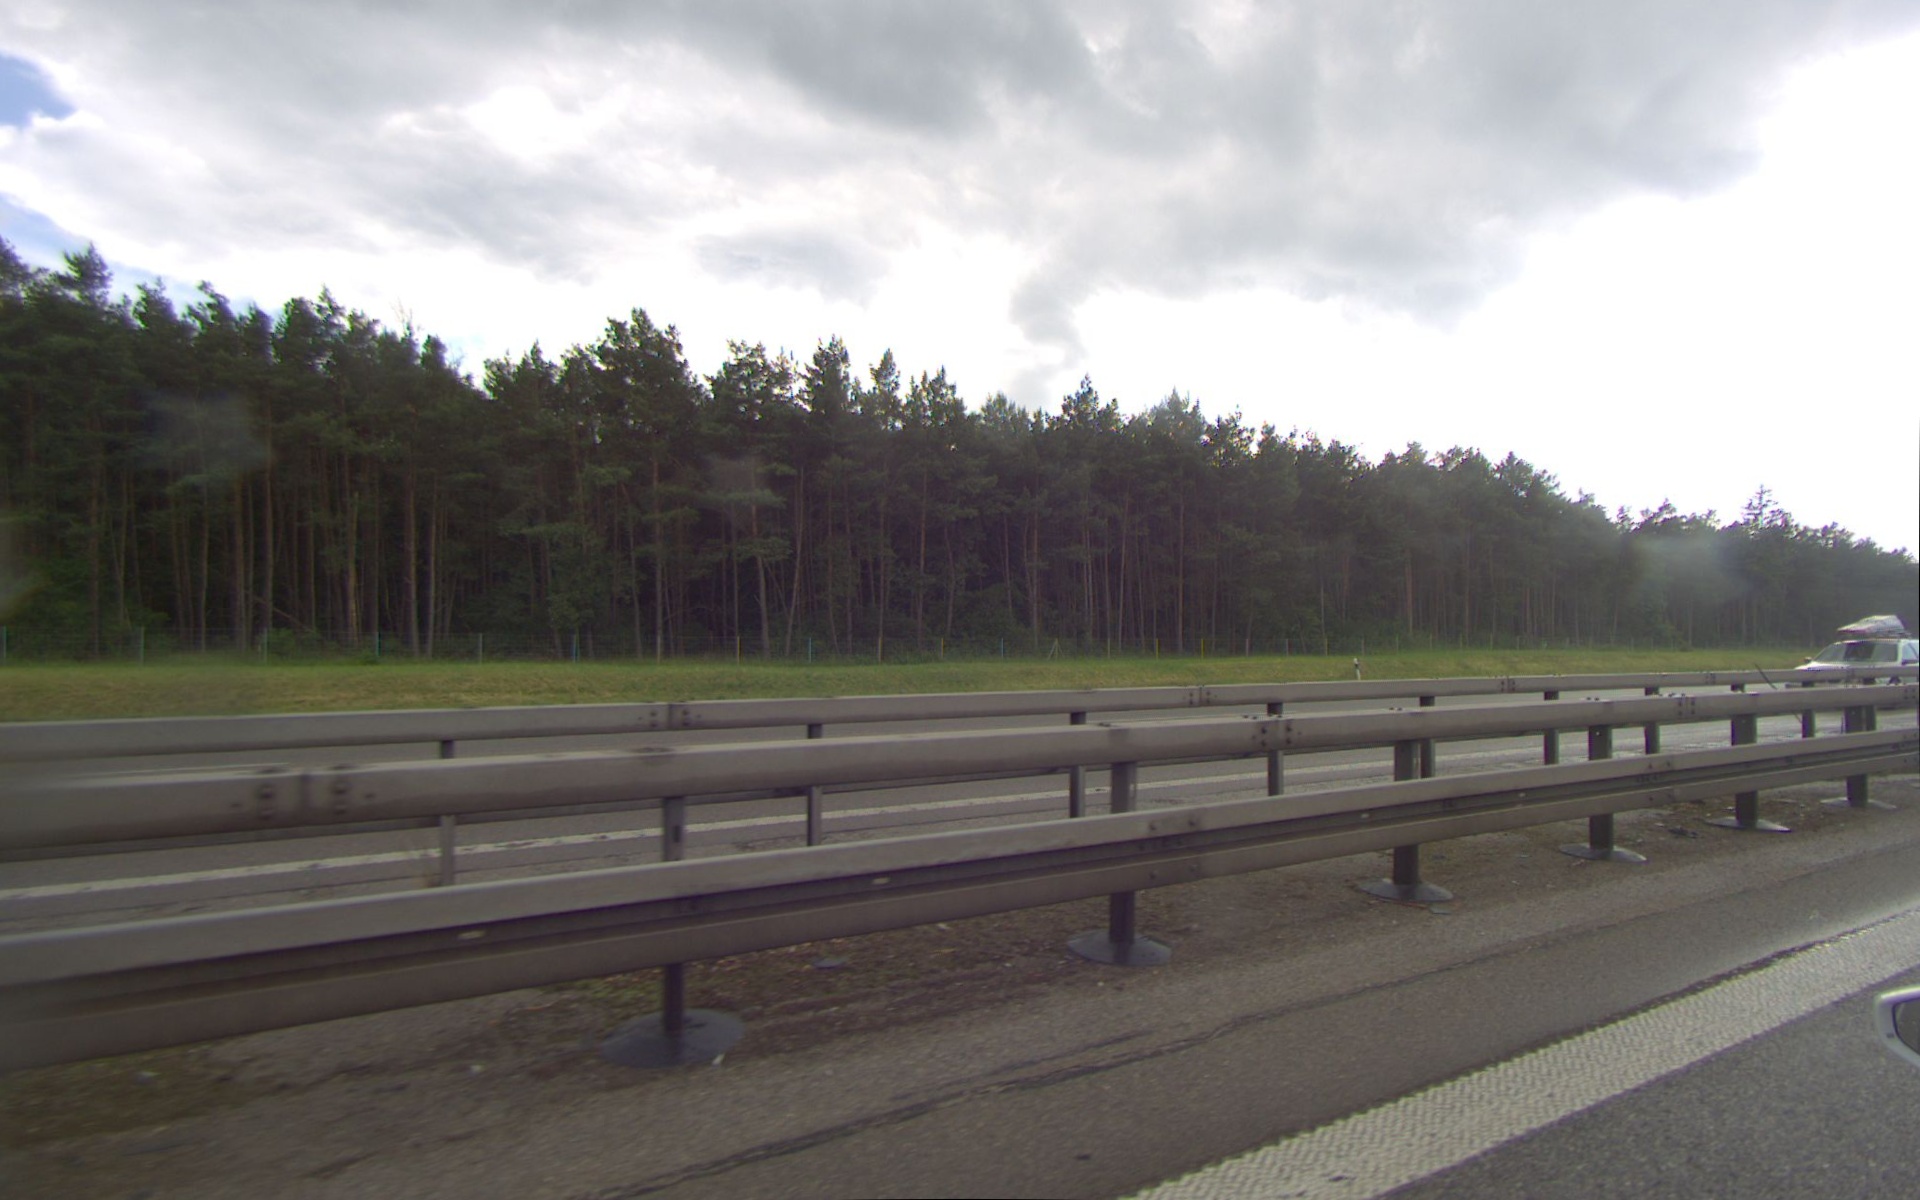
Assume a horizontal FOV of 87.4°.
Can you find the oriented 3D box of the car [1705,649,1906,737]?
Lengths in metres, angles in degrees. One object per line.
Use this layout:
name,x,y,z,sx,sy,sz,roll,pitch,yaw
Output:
car,17.016,1.778,20.182,4.352,1.567,1.776,1,-3,-31
